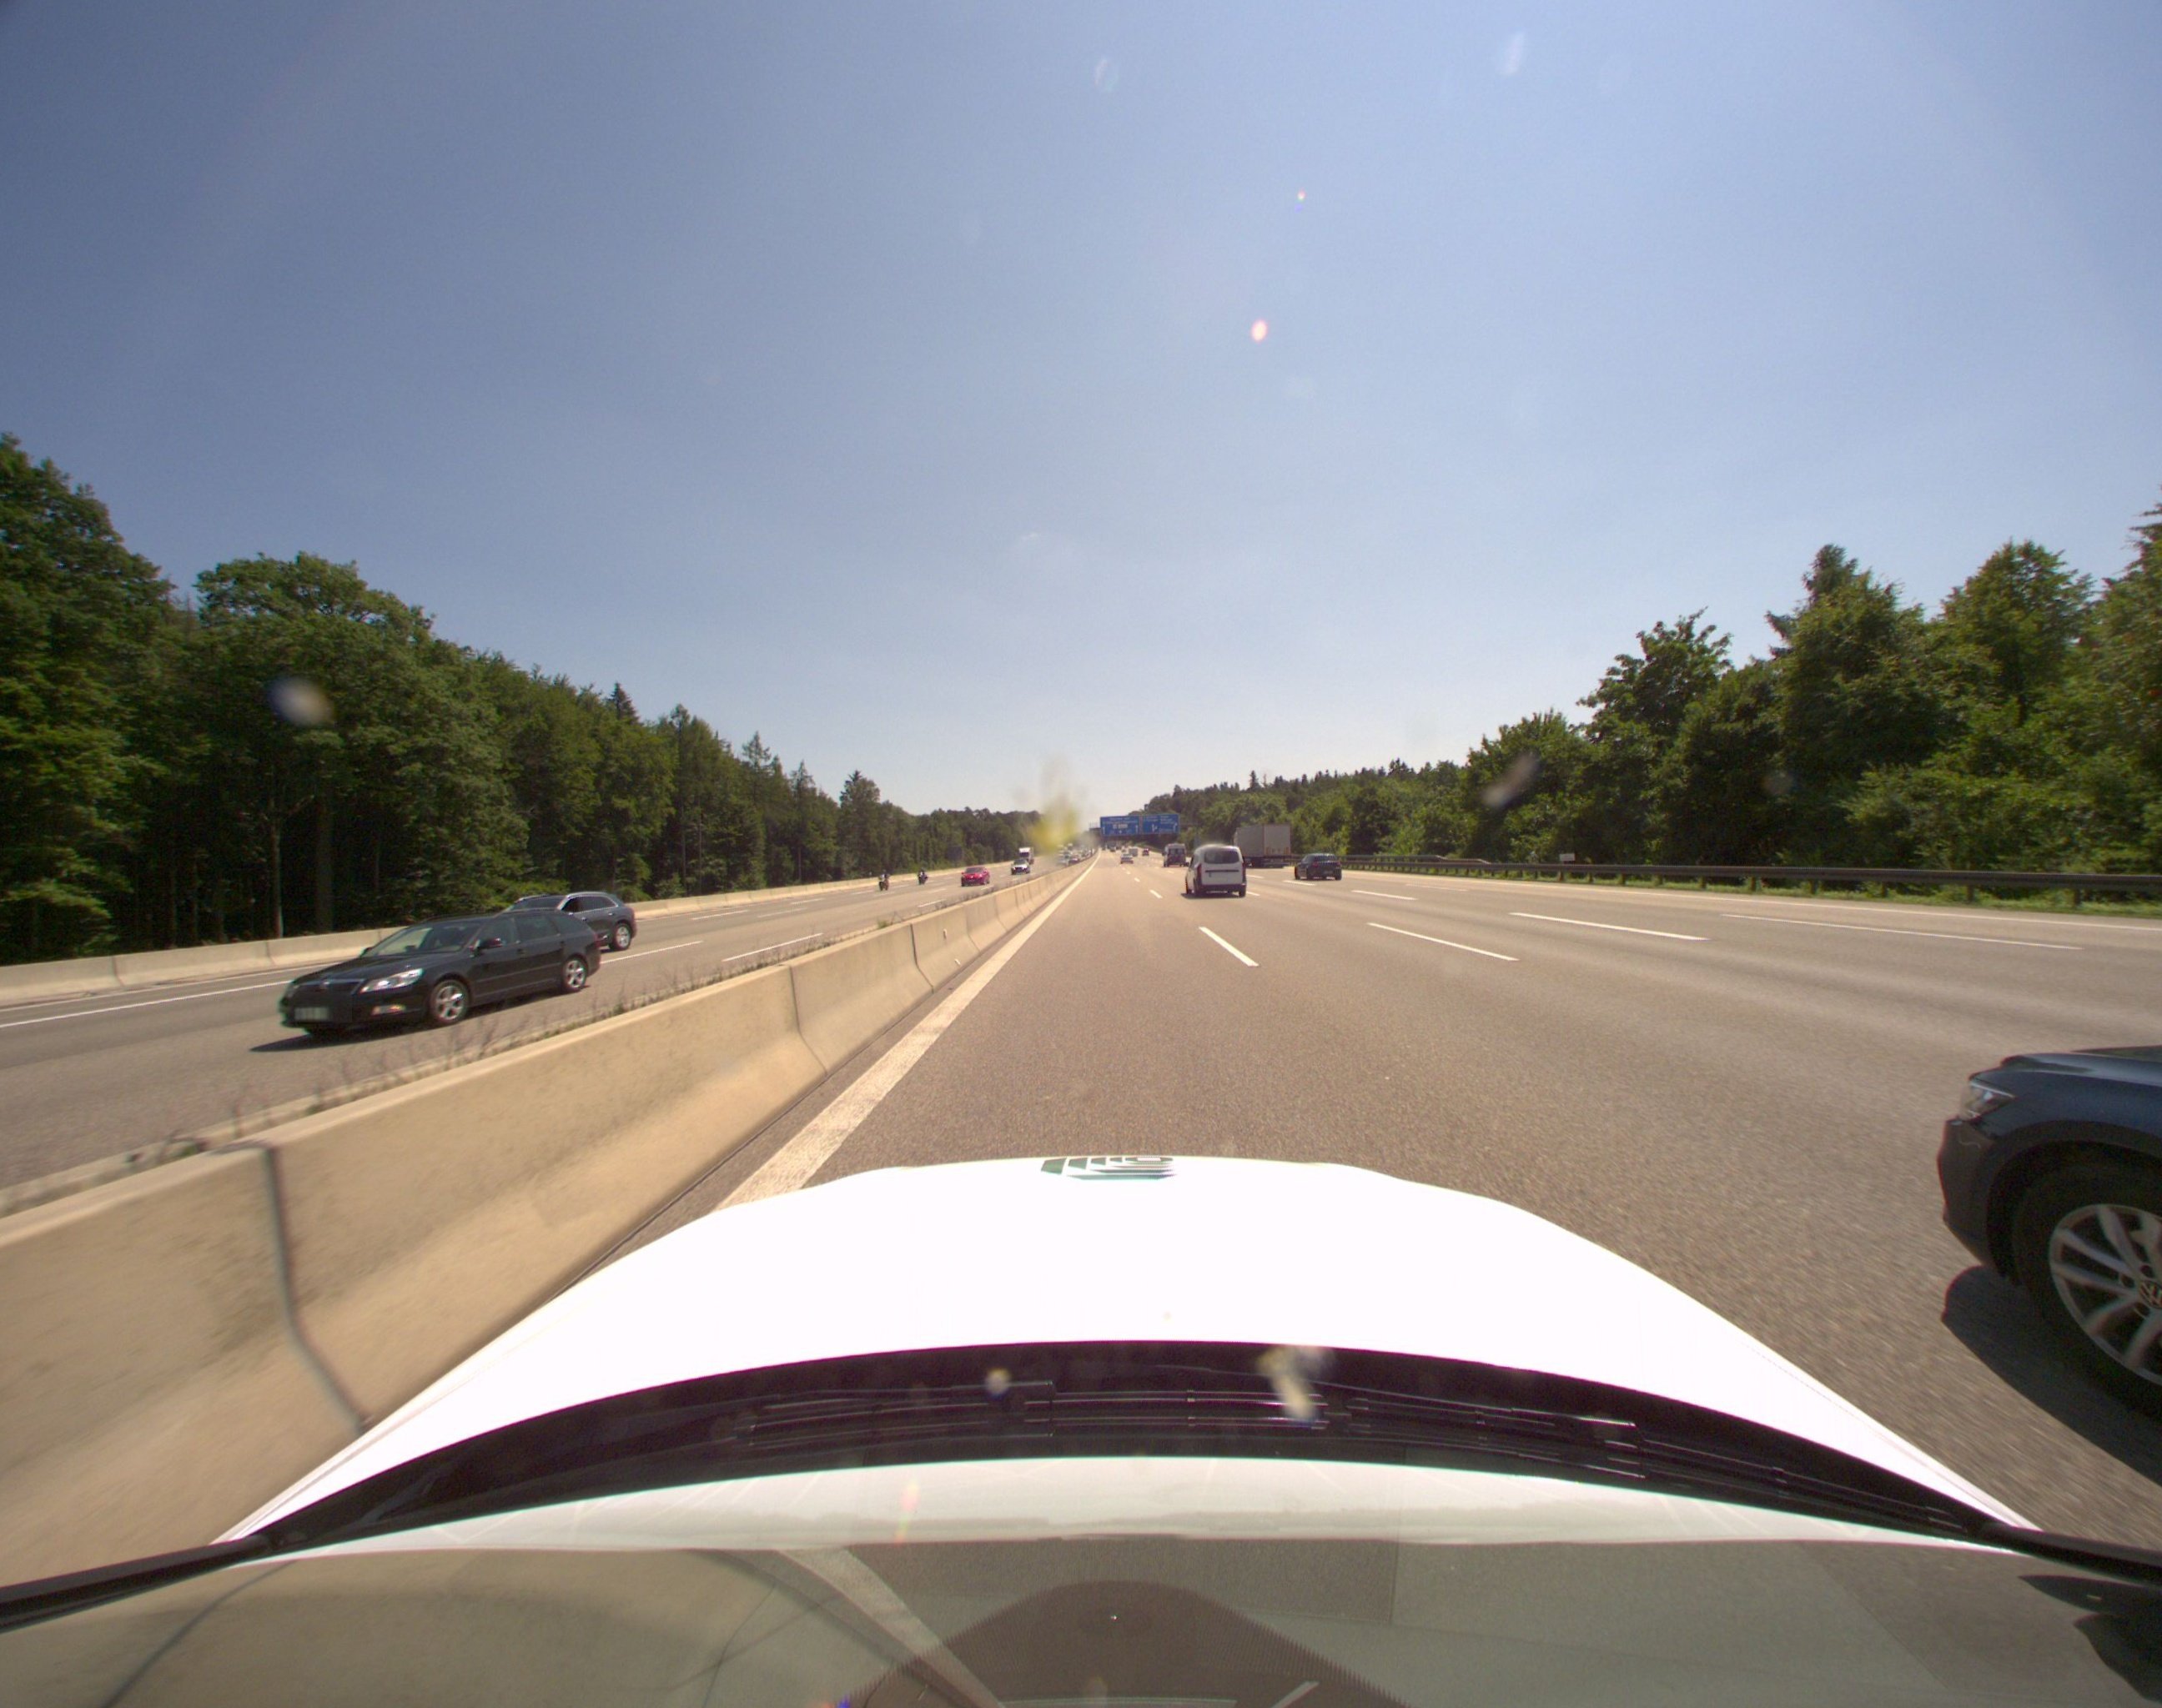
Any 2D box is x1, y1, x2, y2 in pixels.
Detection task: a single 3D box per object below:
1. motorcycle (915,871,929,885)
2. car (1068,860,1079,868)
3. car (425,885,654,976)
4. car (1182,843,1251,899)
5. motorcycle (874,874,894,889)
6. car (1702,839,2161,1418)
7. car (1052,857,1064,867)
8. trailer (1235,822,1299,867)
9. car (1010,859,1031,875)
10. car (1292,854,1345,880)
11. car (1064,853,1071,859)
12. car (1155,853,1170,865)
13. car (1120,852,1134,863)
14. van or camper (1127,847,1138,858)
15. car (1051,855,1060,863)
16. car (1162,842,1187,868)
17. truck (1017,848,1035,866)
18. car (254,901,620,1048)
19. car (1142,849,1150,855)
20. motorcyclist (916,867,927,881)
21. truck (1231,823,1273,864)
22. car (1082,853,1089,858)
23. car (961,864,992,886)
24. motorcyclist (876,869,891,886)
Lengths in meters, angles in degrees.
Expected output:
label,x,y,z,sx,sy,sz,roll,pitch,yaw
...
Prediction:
label,x,y,z,sx,sy,sz,roll,pitch,yaw
motorcycle,-15.178,2.256,77.731,0.735,1.214,2.350,-3,-1,2
car,-1.318,1.754,148.486,1.746,1.377,4.493,-1,0,2
car,-13.201,1.766,20.403,2.039,1.674,5.190,-3,0,2
car,4.925,0.586,30.199,1.852,1.826,4.614,-3,0,2
motorcycle,-15.799,2.191,65.260,0.775,1.141,2.757,-3,0,2
car,3.561,0.688,1.142,1.723,1.447,4.964,-2,0,2
car,-3.765,1.273,134.707,1.711,1.512,4.353,-3,0,2
trailer,17.813,-0.931,79.184,3.276,3.930,13.893,-1,0,1
car,-6.958,1.476,94.020,1.964,1.724,4.508,-2,0,0
car,12.613,0.674,43.461,1.664,1.273,4.292,-2,0,2
car,-3.909,0.637,228.388,1.698,1.565,3.761,-3,0,2
car,12.186,0.693,122.052,1.811,1.640,4.002,-3,0,2
car,6.844,0.538,121.782,1.836,1.629,4.554,-3,-1,1
van or camper,13.416,-0.360,212.858,2.635,2.539,6.504,-3,0,2
car,-5.558,1.048,177.364,1.711,1.449,4.909,-2,0,1
car,10.286,0.159,89.732,2.136,2.652,5.712,-3,0,2
truck,-12.304,0.718,183.470,2.709,3.939,10.239,-3,-1,2
car,-9.128,1.589,12.190,1.696,1.427,4.613,-4,0,0
car,17.454,-0.596,219.451,1.829,1.338,3.644,-3,-1,1
motorcyclist,-15.192,1.908,77.633,0.758,1.301,1.078,-3,0,1
truck,17.950,-1.087,85.719,3.242,4.106,5.990,-1,0,1
car,1.388,0.472,249.017,1.698,1.662,3.761,-3,0,2
car,-8.031,1.606,62.841,1.565,1.511,4.034,-4,0,4
motorcyclist,-15.788,1.879,65.120,0.766,1.301,1.078,-3,-1,1
